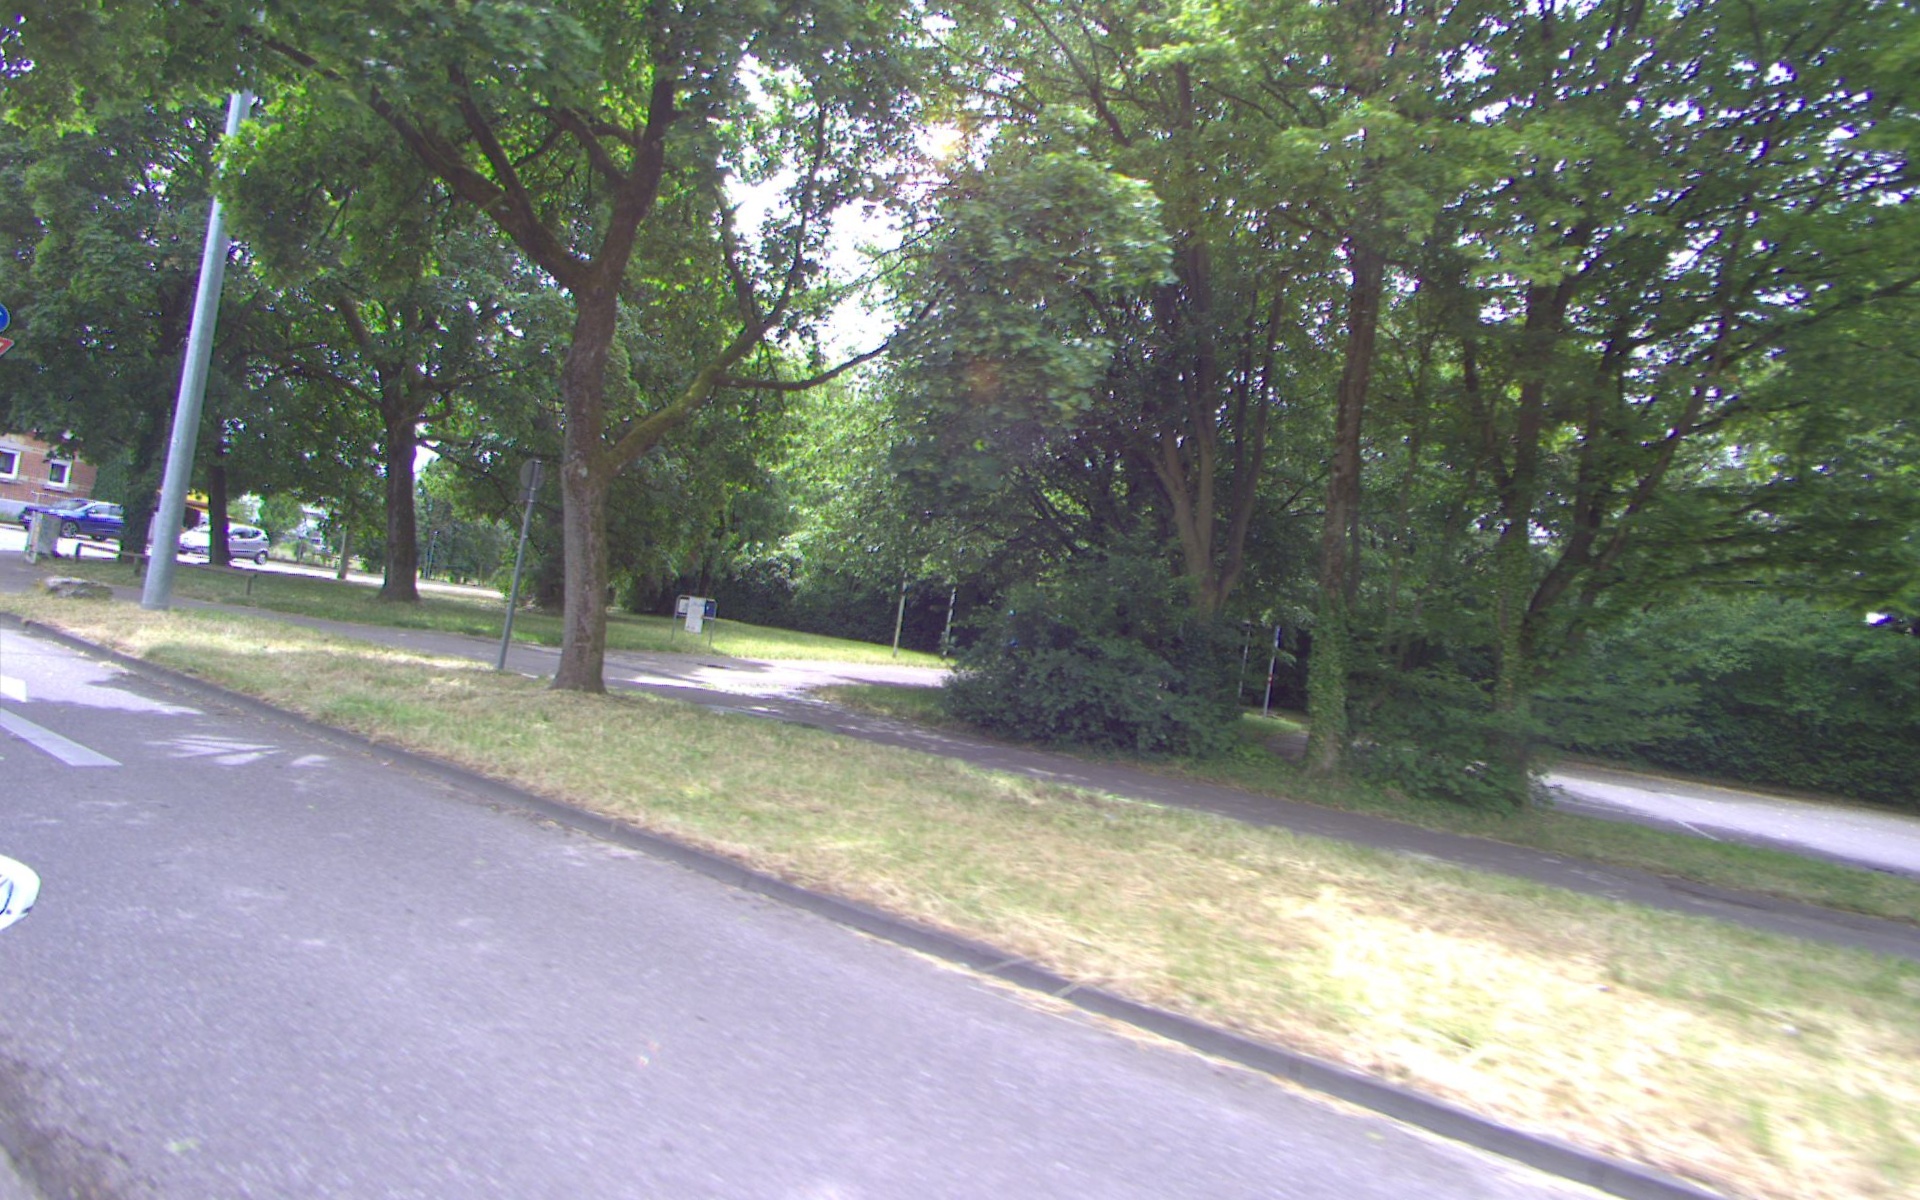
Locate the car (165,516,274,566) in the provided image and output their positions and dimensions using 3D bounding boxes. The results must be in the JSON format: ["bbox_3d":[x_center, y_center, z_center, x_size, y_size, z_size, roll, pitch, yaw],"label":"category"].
[{"bbox_3d":[-31.094,-2.451,42.378,1.748,1.536,3.561,7,-2,2],"label":"car"}]

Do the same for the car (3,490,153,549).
[{"bbox_3d":[-34.492,-3.107,39.501,1.891,1.536,4.005,8,-2,8],"label":"car"}]

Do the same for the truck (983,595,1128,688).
[{"bbox_3d":[4.026,1.772,40.329,2.442,2.879,7.425,7,-2,32],"label":"truck"}]
